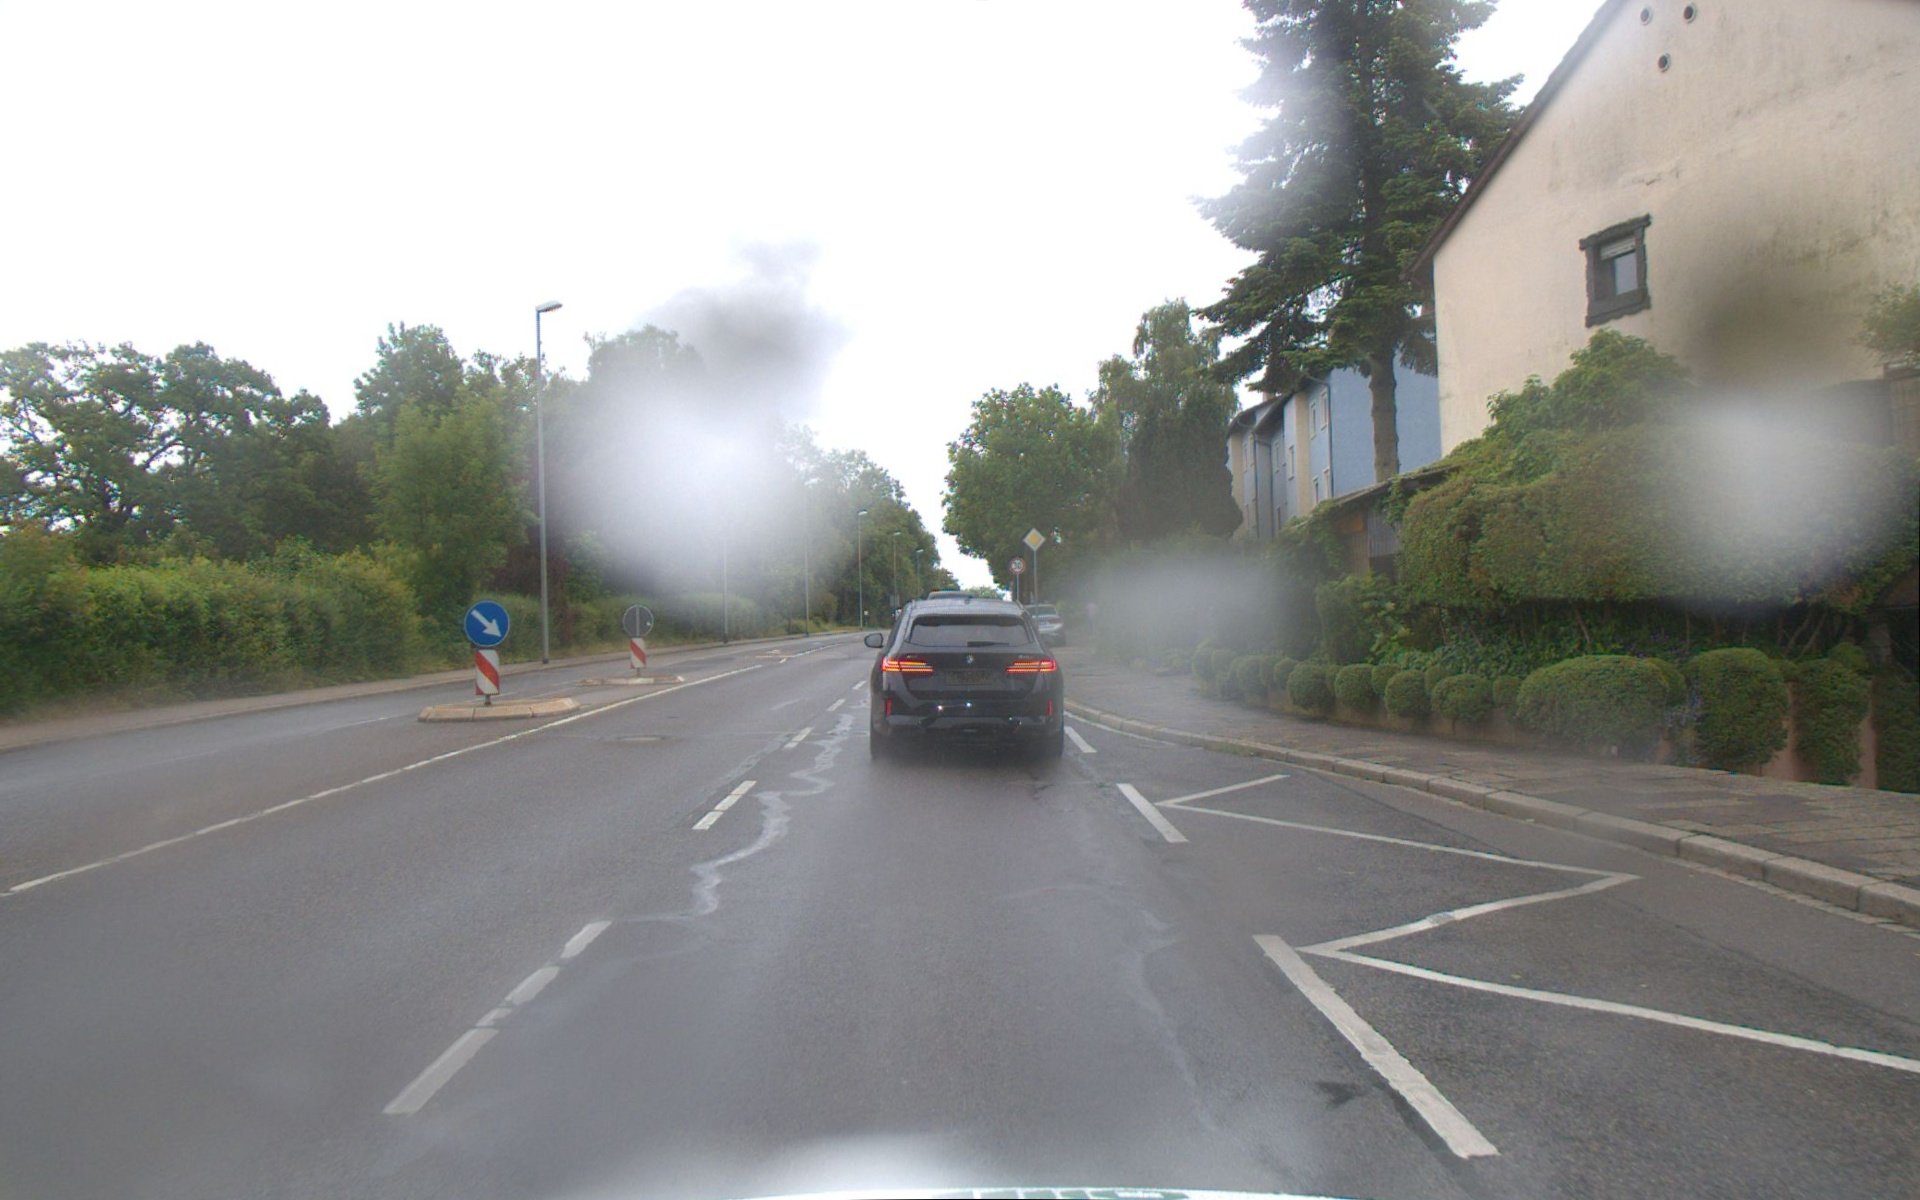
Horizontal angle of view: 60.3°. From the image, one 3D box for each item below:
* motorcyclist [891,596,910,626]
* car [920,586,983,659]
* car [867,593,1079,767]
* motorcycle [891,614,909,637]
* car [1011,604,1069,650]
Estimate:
[{"bbox_3d":[-3.143,0.587,87.418,1.018,1.595,0.855,1,-1,-1],"label":"motorcyclist"},{"bbox_3d":[-0.246,0.584,45.760,1.596,1.865,3.999,-2,0,-1],"label":"car"},{"bbox_3d":[0.126,0.714,16.697,1.858,1.515,4.000,1,0,0],"label":"car"},{"bbox_3d":[-3.145,1.343,87.319,0.858,1.144,2.740,1,-1,-1],"label":"motorcycle"},{"bbox_3d":[2.739,0.912,57.285,1.895,1.467,4.409,-1,0,2],"label":"car"}]
